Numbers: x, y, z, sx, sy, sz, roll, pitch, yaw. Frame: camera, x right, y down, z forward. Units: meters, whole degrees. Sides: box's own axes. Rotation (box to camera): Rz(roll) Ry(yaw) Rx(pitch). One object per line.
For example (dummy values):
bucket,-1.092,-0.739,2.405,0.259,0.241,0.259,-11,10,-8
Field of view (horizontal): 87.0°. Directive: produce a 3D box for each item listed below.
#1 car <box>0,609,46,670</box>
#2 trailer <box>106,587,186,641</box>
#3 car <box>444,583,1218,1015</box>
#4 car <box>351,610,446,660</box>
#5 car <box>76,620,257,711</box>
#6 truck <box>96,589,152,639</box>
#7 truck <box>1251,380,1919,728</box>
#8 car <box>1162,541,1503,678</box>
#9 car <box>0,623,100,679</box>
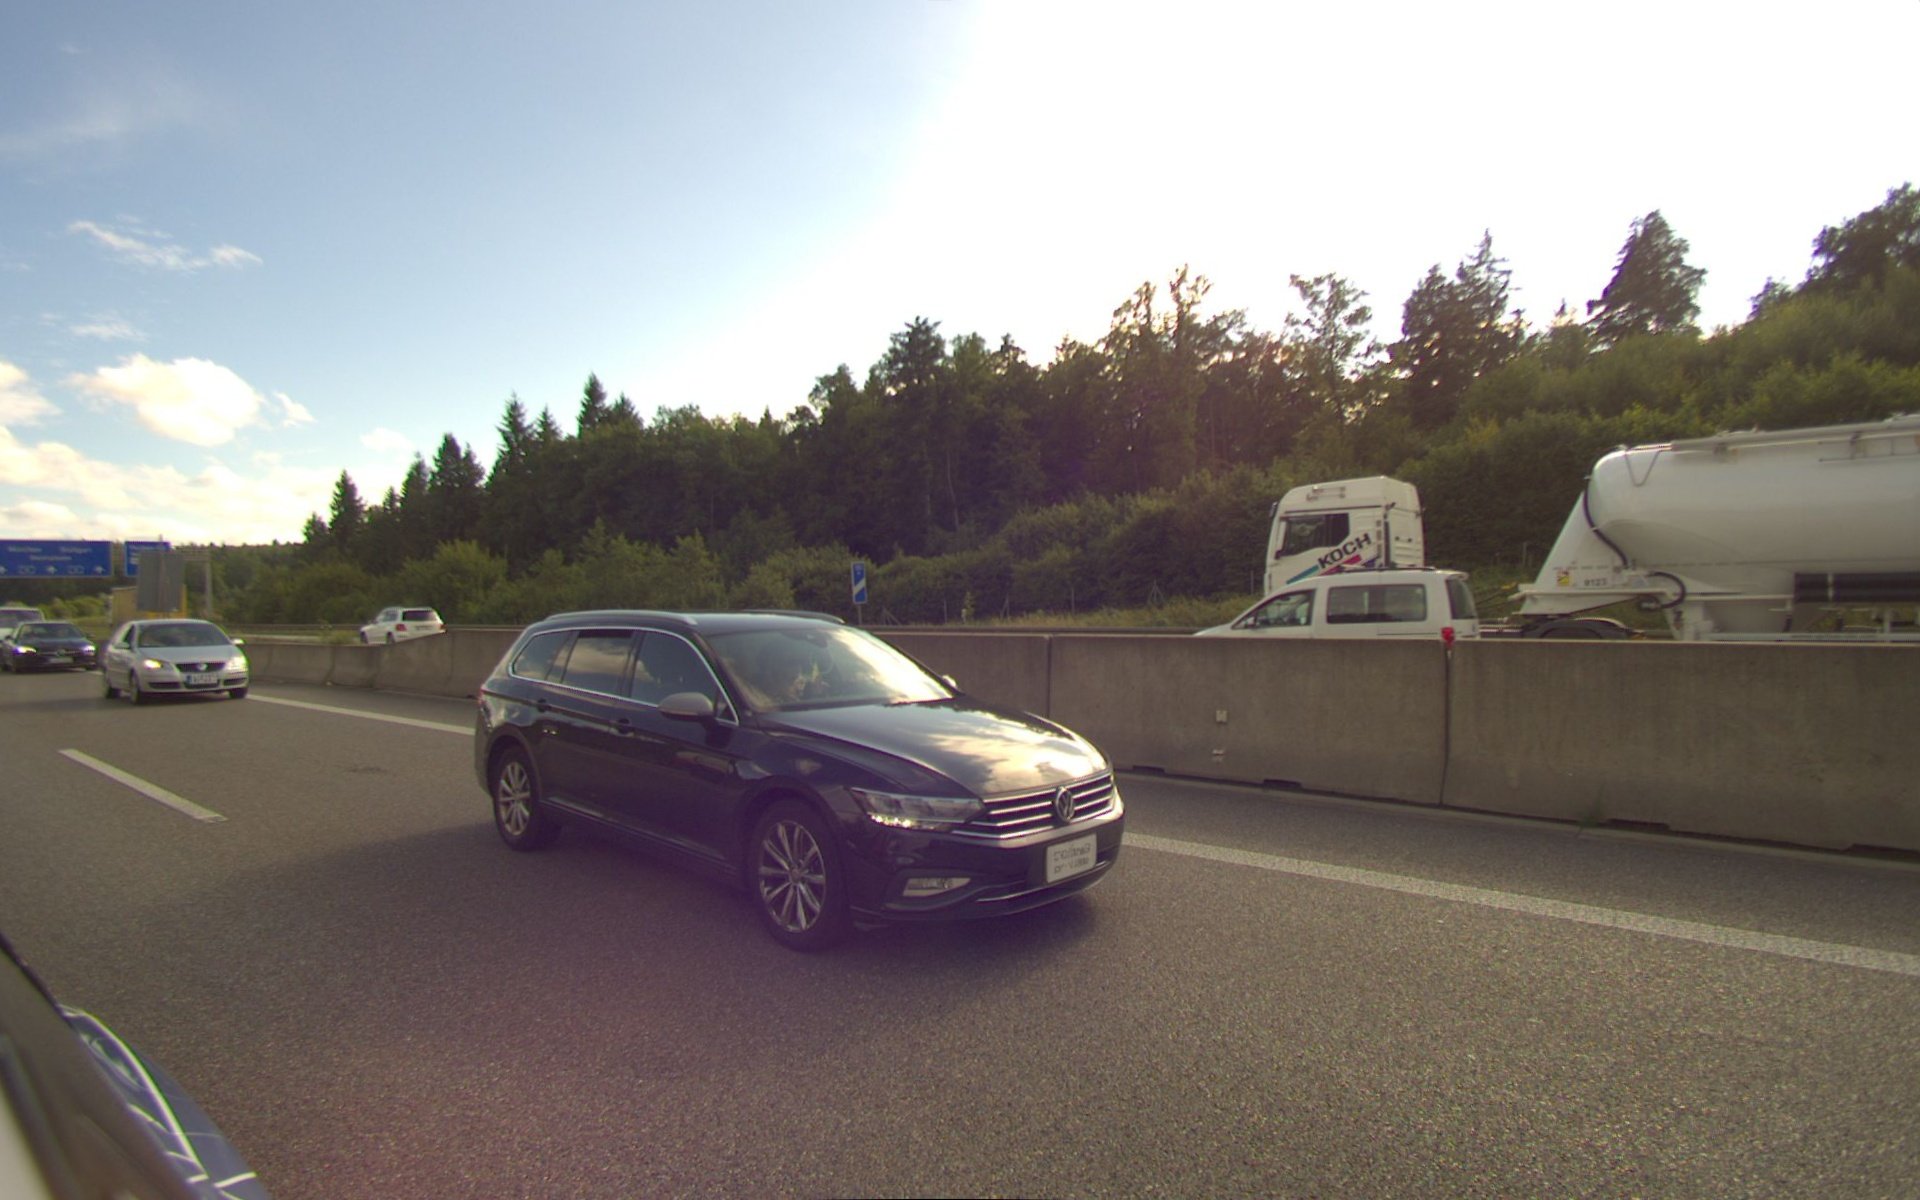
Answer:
car,-33.015,1.337,34.695,4.845,1.980,1.922,-1,0,41
trailer,-68.329,1.133,84.768,13.554,4.234,2.805,-1,0,41
car,-1.069,0.724,5.753,4.568,1.488,1.890,-1,-1,43
car,-21.882,1.330,39.358,4.320,1.823,1.833,-1,0,40
car,-14.770,1.122,18.741,4.664,1.442,1.786,-1,0,41
truck,-74.203,1.234,89.822,6.075,4.234,2.805,-1,0,41
truck,11.557,-0.576,15.102,13.900,4.387,2.903,-1,0,40
car,5.355,0.150,14.854,4.320,1.725,1.833,-1,0,40
car,-26.195,1.414,28.998,3.992,1.442,1.786,-1,0,41
